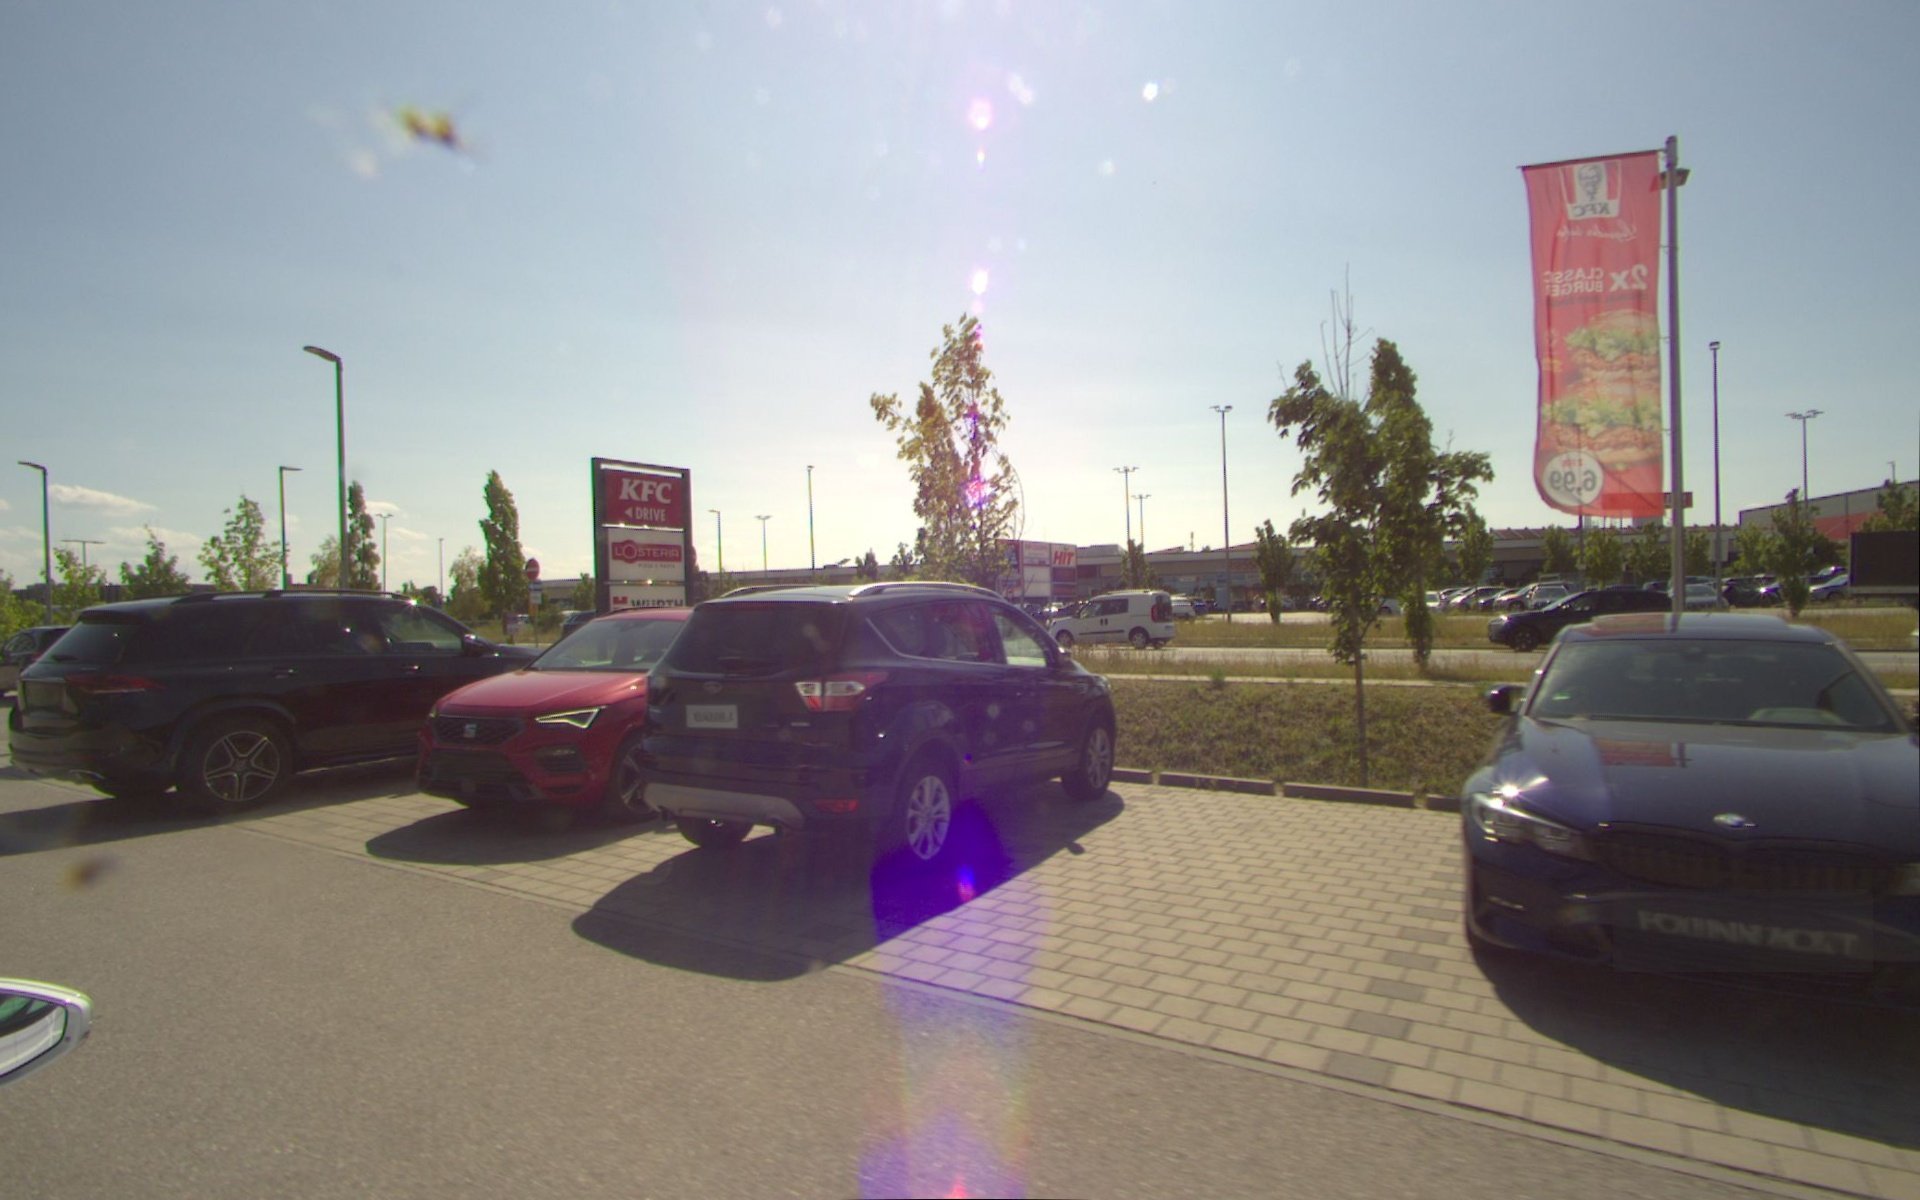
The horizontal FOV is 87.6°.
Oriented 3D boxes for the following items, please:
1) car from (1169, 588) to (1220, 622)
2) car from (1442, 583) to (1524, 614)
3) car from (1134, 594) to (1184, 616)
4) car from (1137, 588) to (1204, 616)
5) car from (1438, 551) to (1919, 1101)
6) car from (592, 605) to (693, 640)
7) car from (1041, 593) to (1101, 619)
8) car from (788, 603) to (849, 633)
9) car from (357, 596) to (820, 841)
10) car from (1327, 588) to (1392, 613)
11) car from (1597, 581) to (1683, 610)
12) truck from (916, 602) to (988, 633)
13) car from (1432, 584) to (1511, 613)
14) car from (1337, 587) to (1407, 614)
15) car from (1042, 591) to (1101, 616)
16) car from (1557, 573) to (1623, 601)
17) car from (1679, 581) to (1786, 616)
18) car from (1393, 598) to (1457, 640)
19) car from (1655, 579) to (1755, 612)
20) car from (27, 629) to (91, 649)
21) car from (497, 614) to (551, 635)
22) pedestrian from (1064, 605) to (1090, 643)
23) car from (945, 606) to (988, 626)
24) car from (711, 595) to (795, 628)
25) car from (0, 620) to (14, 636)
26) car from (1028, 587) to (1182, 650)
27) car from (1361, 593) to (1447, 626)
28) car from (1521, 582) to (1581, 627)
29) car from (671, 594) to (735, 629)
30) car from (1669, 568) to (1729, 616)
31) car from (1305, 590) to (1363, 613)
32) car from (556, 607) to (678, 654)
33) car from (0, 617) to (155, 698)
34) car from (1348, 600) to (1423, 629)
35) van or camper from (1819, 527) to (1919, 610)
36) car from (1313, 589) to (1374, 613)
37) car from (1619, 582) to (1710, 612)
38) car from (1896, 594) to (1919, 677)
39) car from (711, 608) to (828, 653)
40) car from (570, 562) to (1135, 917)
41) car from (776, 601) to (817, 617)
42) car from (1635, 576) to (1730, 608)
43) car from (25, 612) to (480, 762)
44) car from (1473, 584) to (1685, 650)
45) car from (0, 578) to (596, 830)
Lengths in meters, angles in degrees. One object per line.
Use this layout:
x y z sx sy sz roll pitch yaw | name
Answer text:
13.282 0.291 56.523 1.967 1.870 4.392 -1 0 25 | car
33.676 -0.079 64.587 4.322 1.880 1.954 -1 0 13 | car
17.791 0.479 89.506 4.322 1.880 1.954 -1 0 13 | car
14.523 0.133 69.211 4.487 1.880 1.954 -1 0 13 | car
3.736 0.729 5.115 1.868 1.659 4.429 -1 -2 32 | car
-14.192 0.984 44.655 4.539 1.503 1.868 -1 0 33 | car
9.058 0.500 81.661 4.837 2.040 2.082 -1 0 8 | car
-10.022 1.237 71.446 1.966 2.040 5.166 0 0 22 | car
-2.893 0.840 8.871 1.860 1.629 4.078 0 -1 14 | car
30.619 0.070 76.803 4.321 1.880 1.955 -1 0 10 | car
45.733 -0.314 67.414 4.322 1.880 1.954 -1 0 13 | car
-0.447 1.064 63.182 1.971 1.888 5.405 -1 0 32 | truck
34.139 -0.060 66.890 4.322 1.880 1.954 -1 0 13 | car
29.373 0.028 71.560 4.322 1.880 1.954 -1 0 13 | car
9.390 0.327 84.305 4.837 2.040 2.082 -1 0 8 | car
48.917 -1.002 77.824 3.927 2.040 1.998 -1 0 15 | car
43.618 -0.063 56.640 4.322 1.880 1.954 -1 0 13 | car
21.818 0.860 46.871 1.974 1.880 4.259 -1 0 36 | car
44.230 -0.220 59.560 4.322 1.880 1.954 -1 0 13 | car
-64.254 2.764 71.450 3.446 1.404 1.651 -1 0 11 | car
-35.395 1.968 81.367 1.814 1.639 3.651 -1 0 31 | car
4.503 0.923 38.586 0.715 1.416 0.861 -1 -1 30 | pedestrian
0.548 1.336 83.578 3.409 1.572 1.666 -1 0 7 | car
-15.074 0.850 73.331 2.771 2.267 6.290 -1 0 25 | car
-107.380 3.109 110.642 1.870 1.679 3.958 0 0 5 | car
4.840 0.613 33.797 4.826 1.980 1.868 -1 0 33 | car
26.038 0.549 58.846 4.322 1.880 1.954 -1 0 13 | car
26.306 0.200 44.502 1.930 1.880 4.377 -1 0 35 | car
-19.153 0.852 74.887 1.966 2.487 5.063 0 0 22 | car
30.627 -0.298 41.589 1.930 1.880 4.377 -1 0 35 | car
31.719 0.143 85.031 4.321 1.880 1.955 -1 0 10 | car
-13.426 1.157 39.134 4.689 1.755 1.990 -1 0 31 | car
-19.026 1.168 21.258 4.063 1.497 1.831 -1 1 34 | car
28.256 0.944 66.624 4.322 1.880 1.954 -1 0 13 | car
38.239 -1.219 38.334 2.395 3.142 7.977 -1 0 -44 | van or camper
31.487 0.117 82.301 4.321 1.880 1.955 -1 0 10 | car
45.177 -0.181 64.282 4.322 1.880 1.954 -1 0 13 | car
20.066 0.642 17.802 4.582 1.547 1.993 -1 0 25 | car
-7.568 1.182 39.640 4.539 1.686 1.868 -1 0 33 | car
-0.385 0.738 7.217 1.867 1.724 4.313 -1 -2 30 | car
-15.163 0.815 92.778 3.419 1.418 1.431 -1 0 11 | car
44.654 -0.495 61.981 4.322 1.880 1.954 -1 0 13 | car
-8.787 0.948 12.910 1.849 1.506 4.434 -1 0 30 | car
16.535 0.465 27.067 4.732 1.646 1.992 -1 0 29 | car
-5.953 0.799 9.545 1.867 1.783 4.570 -1 -2 30 | car
